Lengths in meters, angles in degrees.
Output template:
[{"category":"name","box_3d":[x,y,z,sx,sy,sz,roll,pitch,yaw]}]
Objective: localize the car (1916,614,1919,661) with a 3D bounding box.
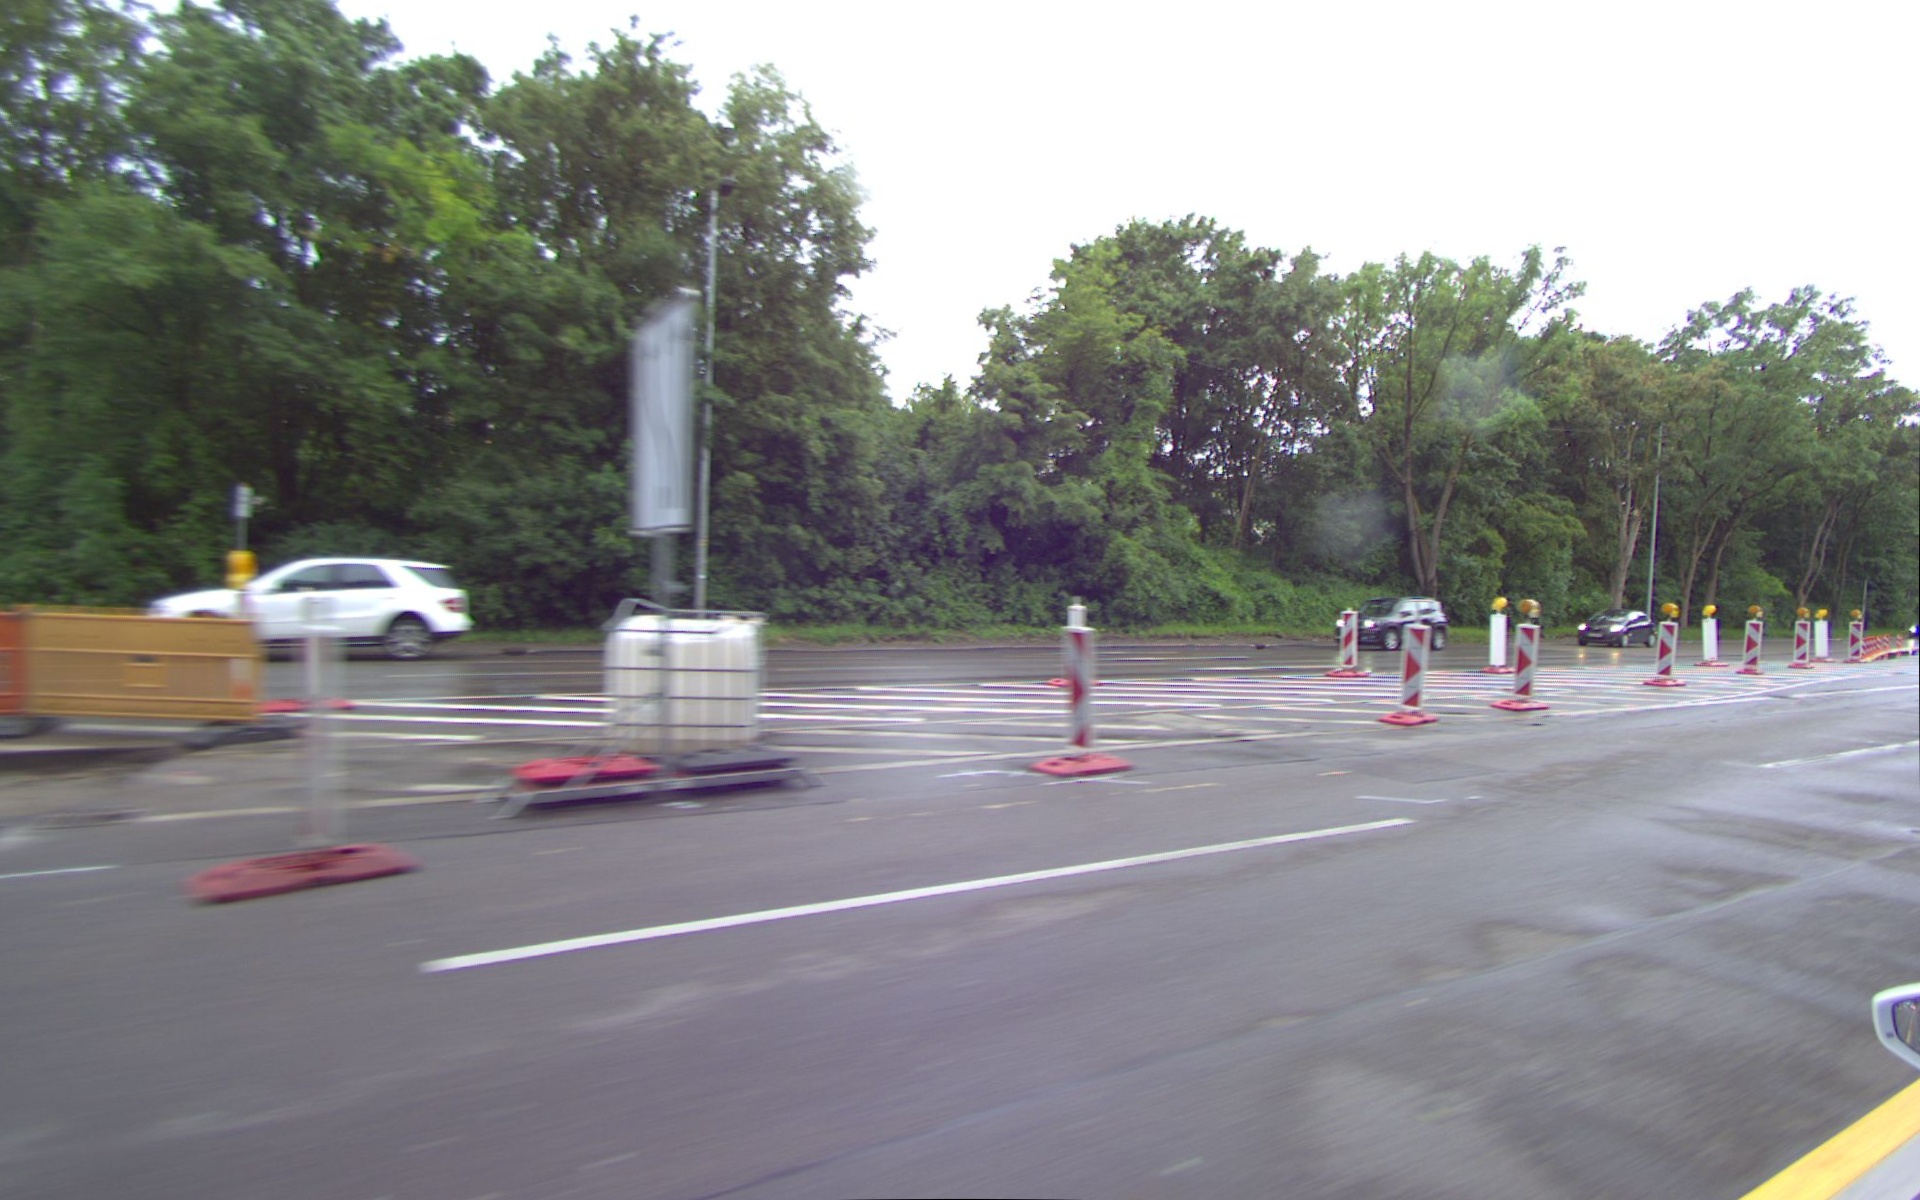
[{"category":"car","box_3d":[33.453,1.224,33.229,3.959,1.512,1.849,-2,4,-35]}]

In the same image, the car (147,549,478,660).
[{"category":"car","box_3d":[-11.141,0.138,17.712,4.662,1.746,1.837,1,-2,-29]}]

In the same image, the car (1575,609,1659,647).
[{"category":"car","box_3d":[26.575,1.125,40.615,3.500,1.476,1.517,1,-1,-32]}]

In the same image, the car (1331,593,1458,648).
[{"category":"car","box_3d":[13.948,0.654,32.180,4.151,1.669,1.627,1,0,-31]}]
